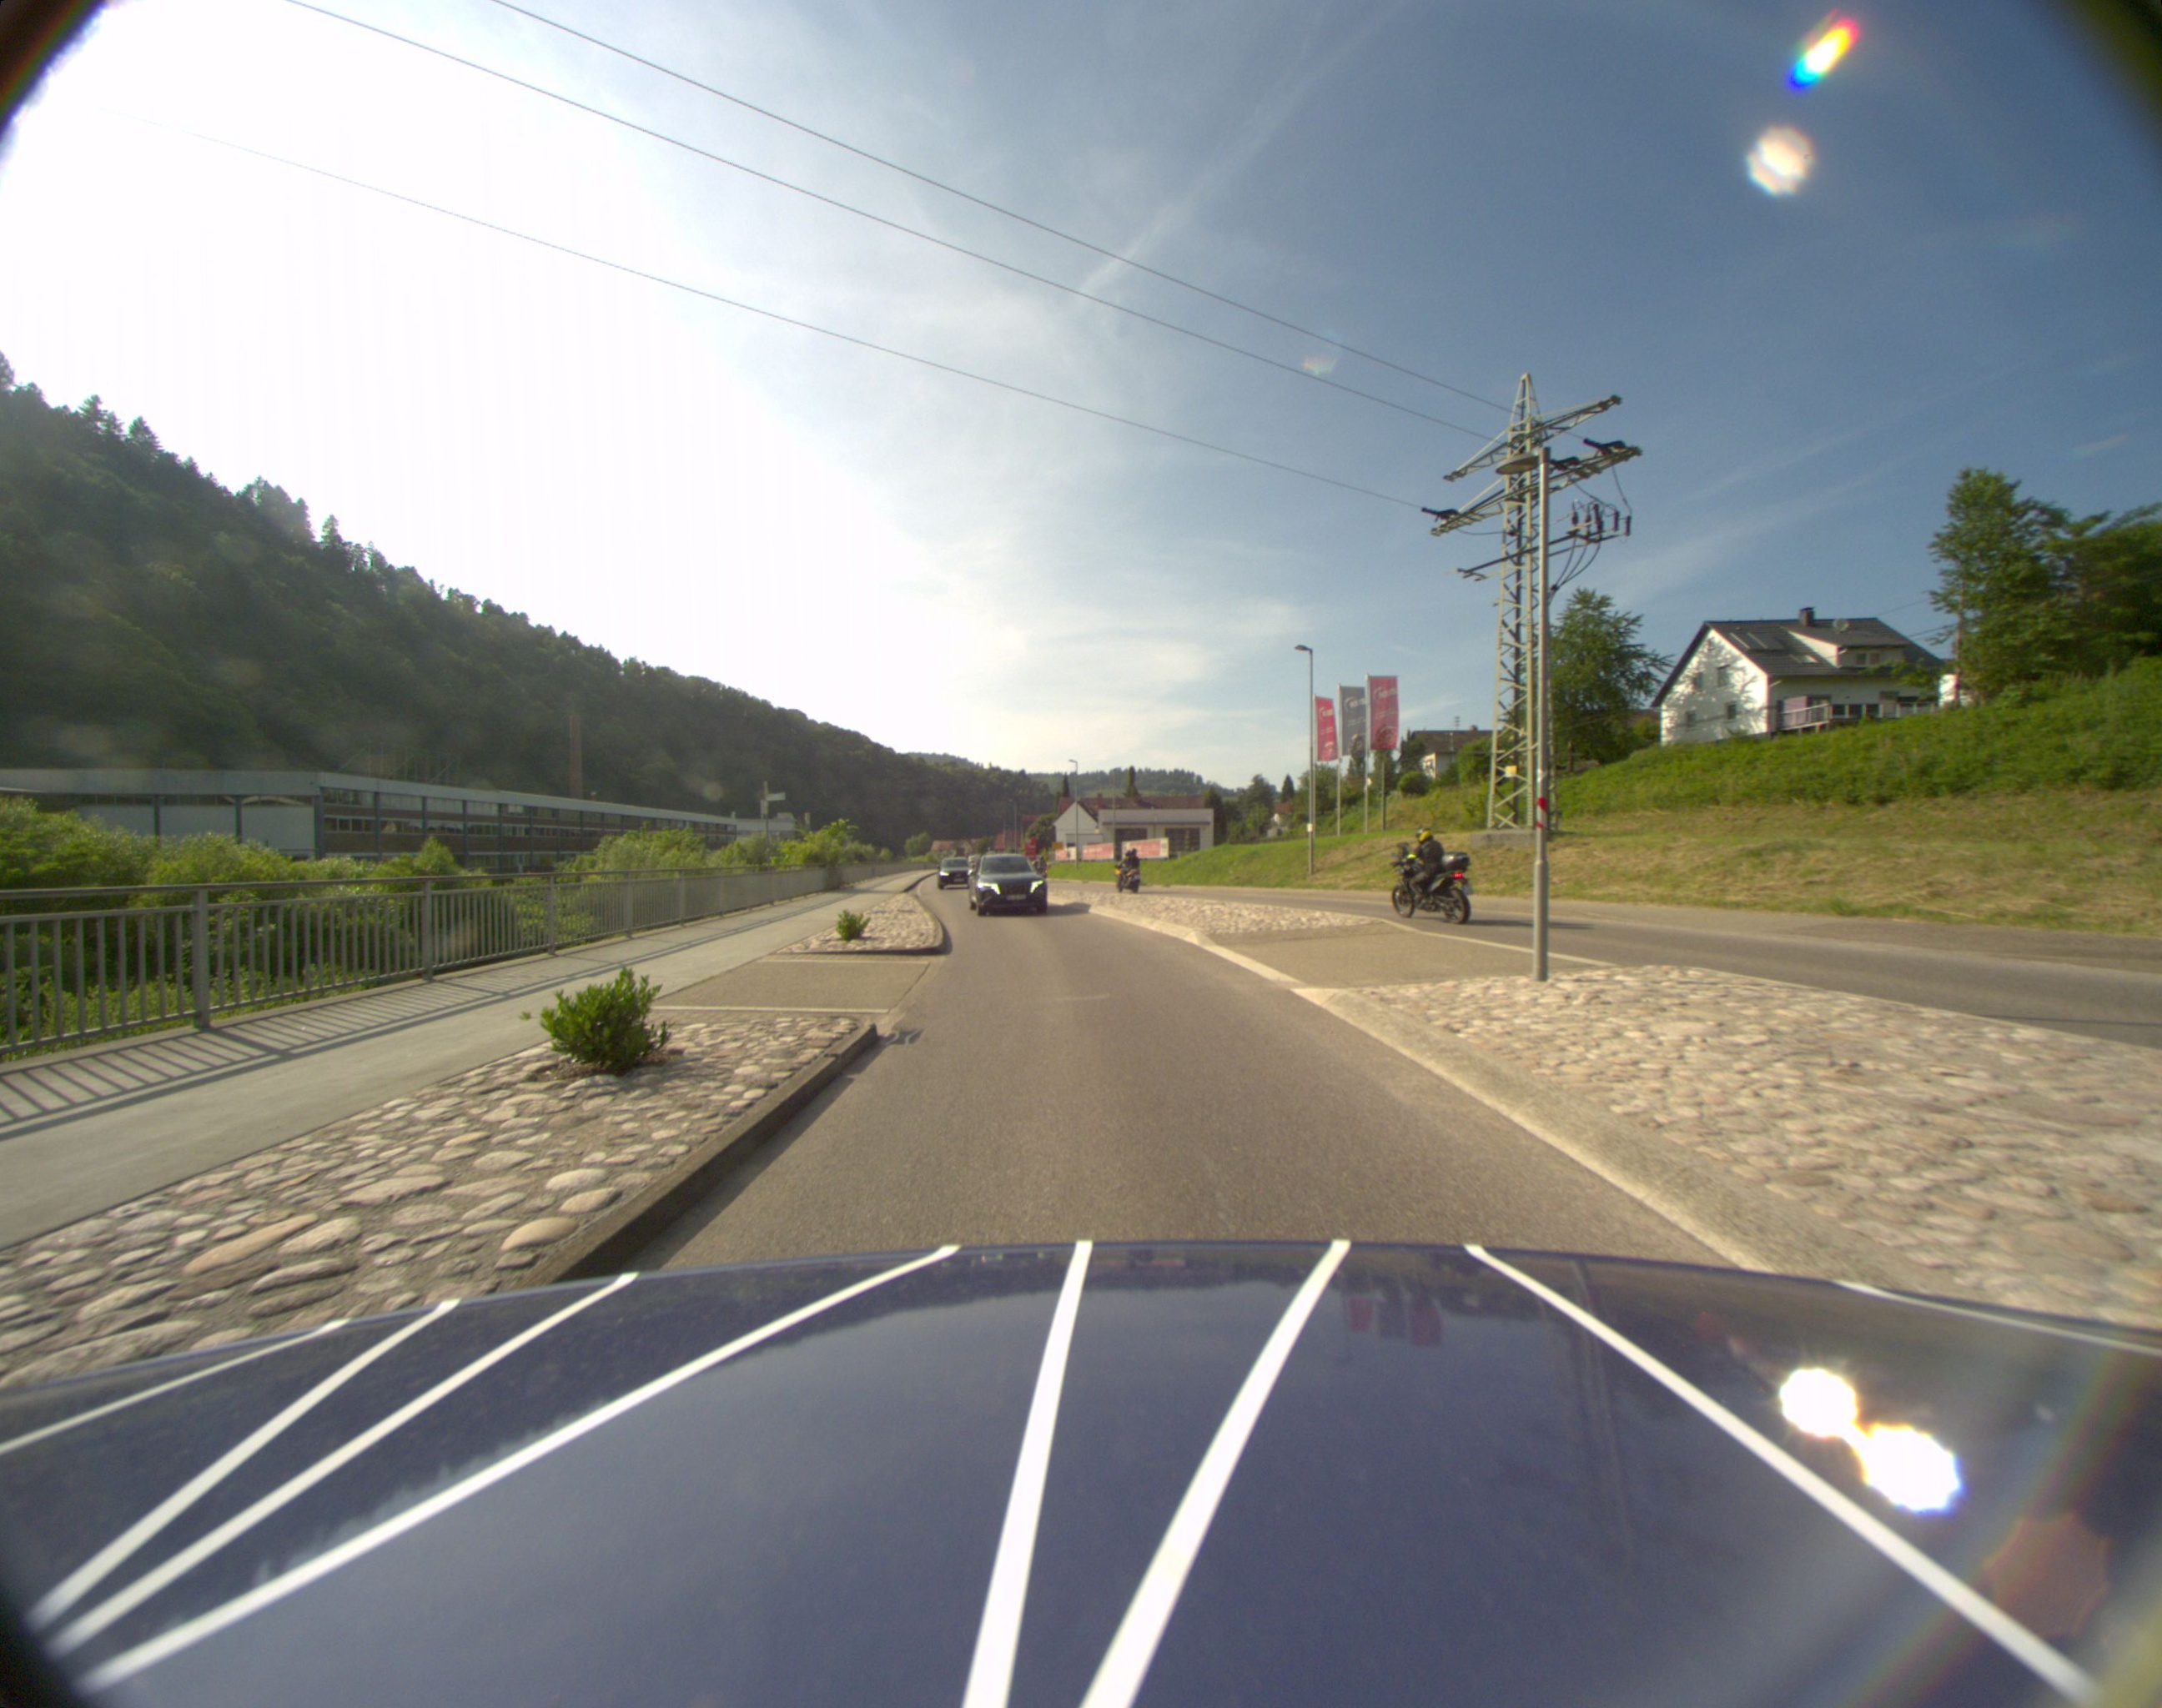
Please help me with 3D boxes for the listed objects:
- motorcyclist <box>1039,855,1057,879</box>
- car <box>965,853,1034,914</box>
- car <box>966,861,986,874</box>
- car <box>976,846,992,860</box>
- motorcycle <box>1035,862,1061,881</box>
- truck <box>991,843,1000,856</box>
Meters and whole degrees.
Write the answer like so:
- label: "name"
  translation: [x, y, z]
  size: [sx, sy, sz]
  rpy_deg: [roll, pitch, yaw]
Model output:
- label: "motorcyclist"
  translation: [-2.077, 0.808, 47.858]
  size: [0.909, 1.510, 0.846]
  rpy_deg: [-1, 0, -23]
- label: "car"
  translation: [-2.569, 0.827, 23.226]
  size: [1.650, 1.639, 3.996]
  rpy_deg: [-3, 0, -12]
- label: "car"
  translation: [-11.853, 1.464, 85.562]
  size: [1.781, 1.399, 4.266]
  rpy_deg: [-1, 0, -15]
- label: "car"
  translation: [-14.738, -0.125, 115.552]
  size: [1.903, 1.877, 5.289]
  rpy_deg: [-4, 2, -11]
- label: "motorcycle"
  translation: [-2.119, 1.083, 48.436]
  size: [0.898, 1.177, 2.301]
  rpy_deg: [-2, 0, -22]
- label: "truck"
  translation: [-25.654, -1.416, 227.676]
  size: [2.586, 3.909, 11.297]
  rpy_deg: [0, 1, -7]
